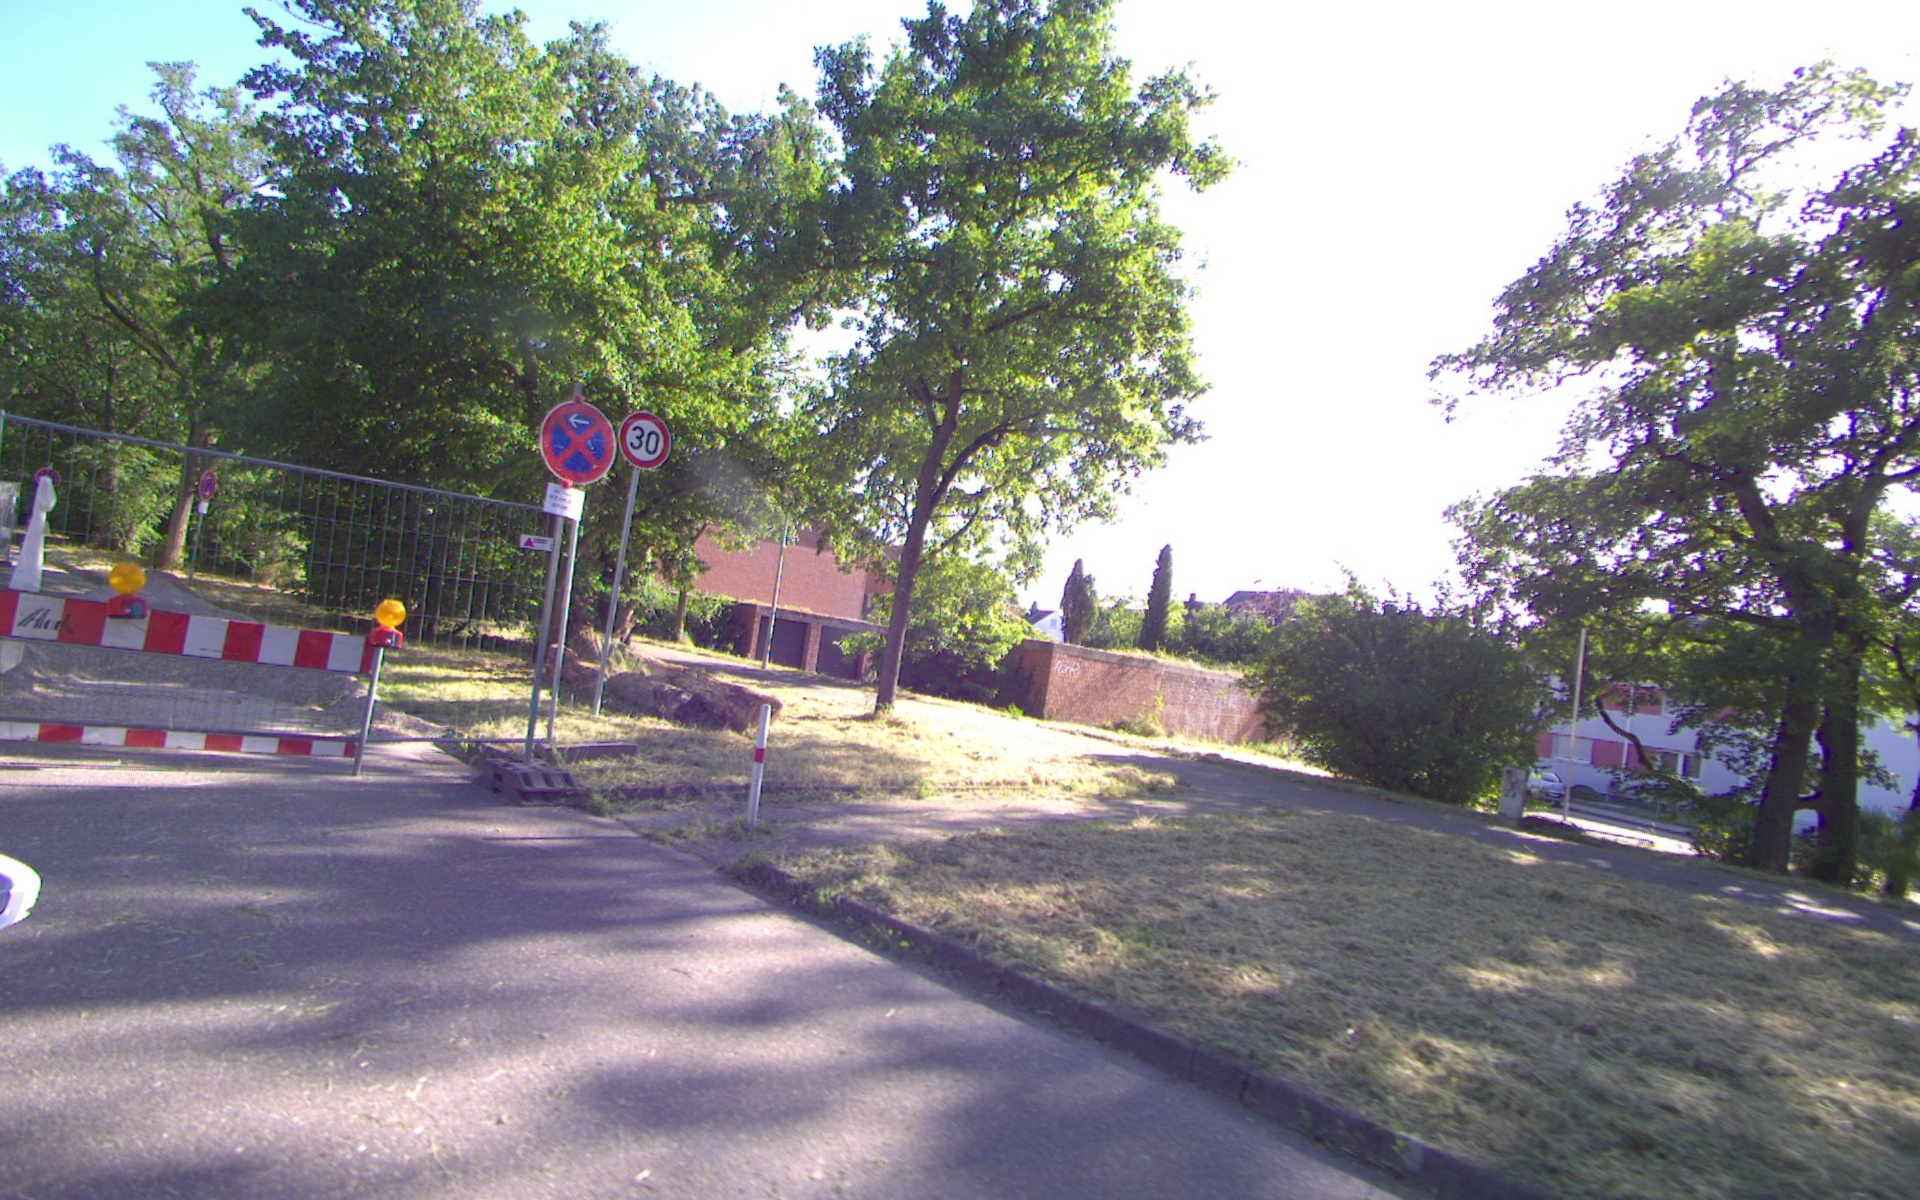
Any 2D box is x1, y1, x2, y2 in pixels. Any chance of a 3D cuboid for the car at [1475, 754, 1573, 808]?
[{"bbox_3d":[23.215,7.433,41.485,1.510,1.568,3.171,10,-3,-20],"label":"car"}]
